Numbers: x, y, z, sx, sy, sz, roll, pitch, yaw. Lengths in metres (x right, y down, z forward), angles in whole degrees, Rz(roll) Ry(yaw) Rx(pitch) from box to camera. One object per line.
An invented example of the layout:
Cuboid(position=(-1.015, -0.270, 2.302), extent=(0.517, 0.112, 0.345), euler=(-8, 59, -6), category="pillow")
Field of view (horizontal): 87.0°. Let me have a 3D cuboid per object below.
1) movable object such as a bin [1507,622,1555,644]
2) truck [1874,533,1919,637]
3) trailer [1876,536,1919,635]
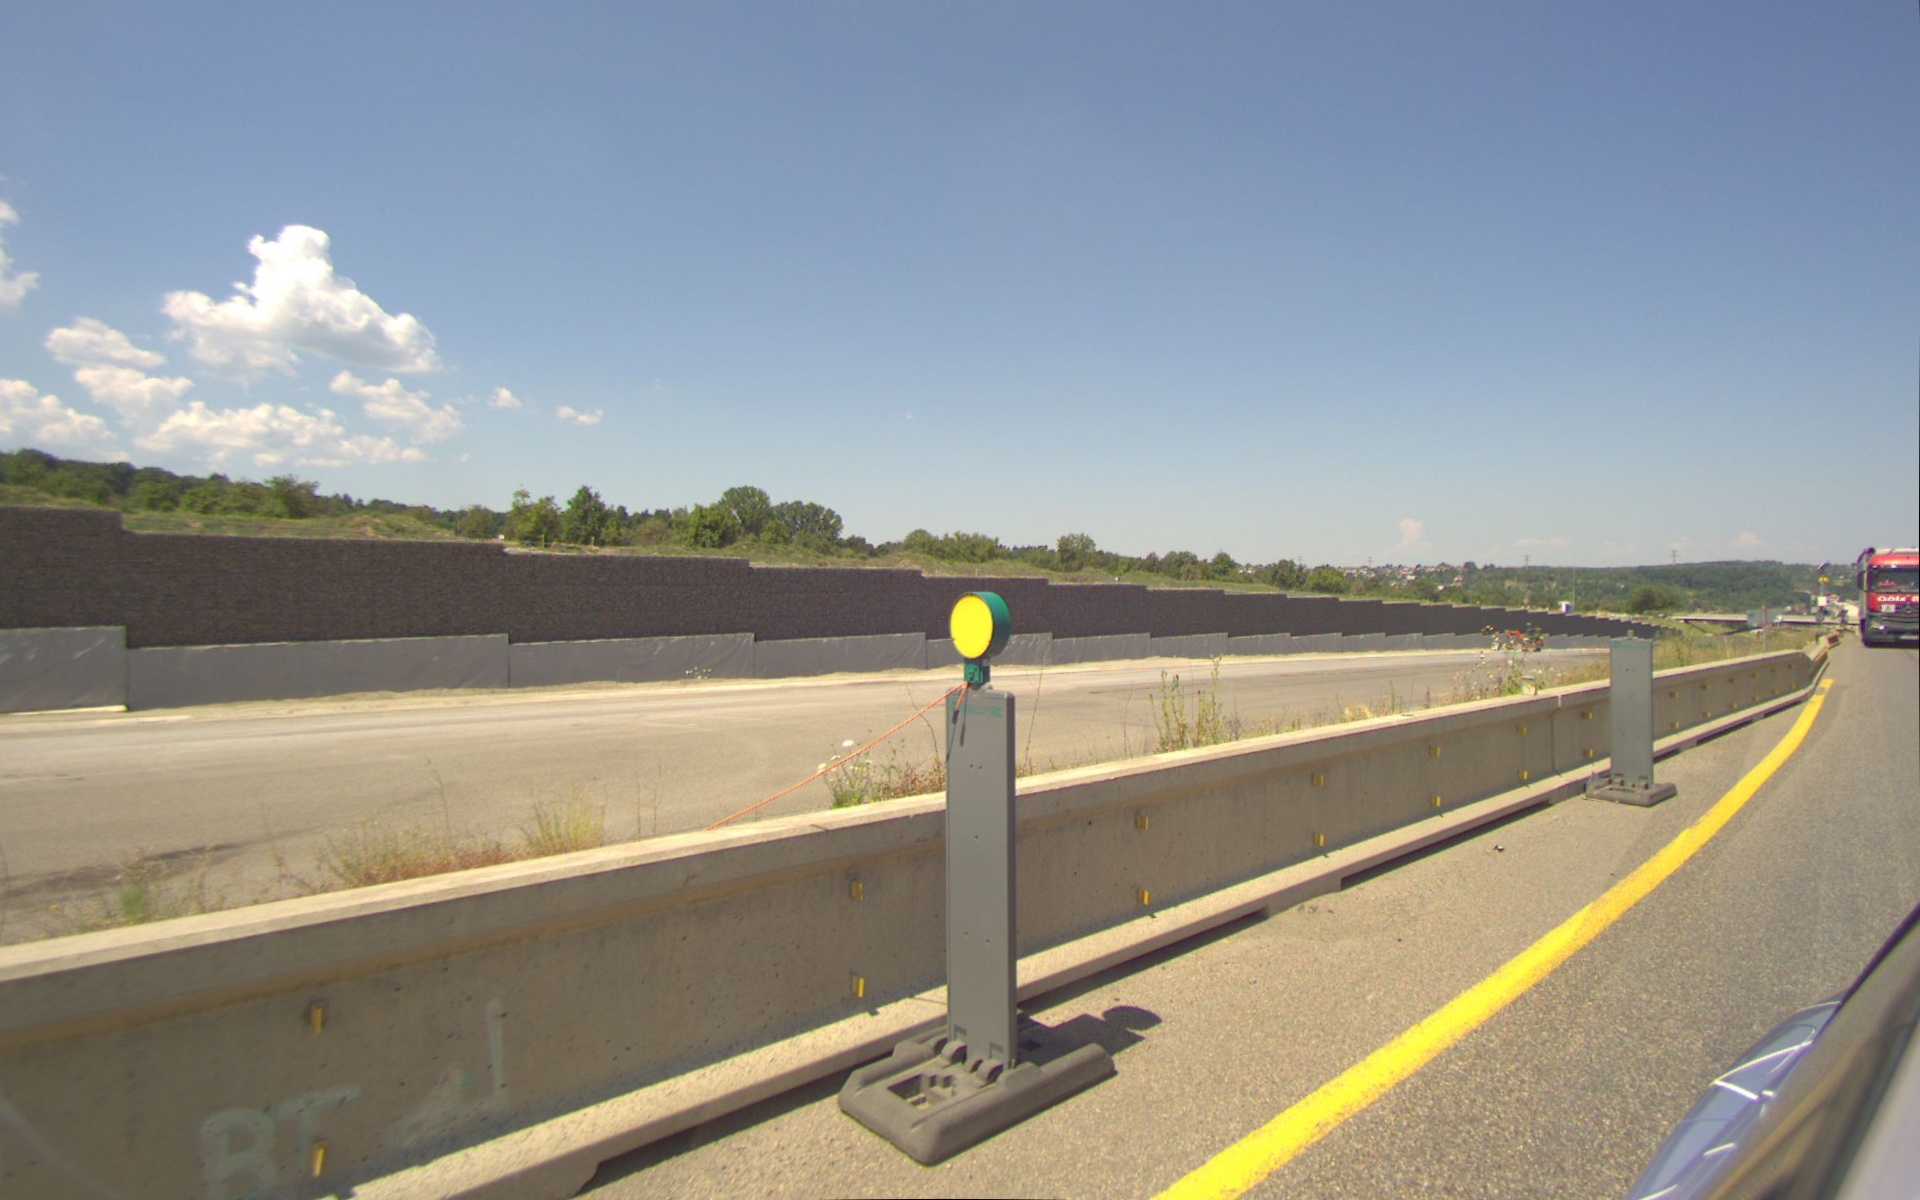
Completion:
Cuboid(position=(60.372, 3.429, 107.125), extent=(4.075, 2.175, 1.754), euler=(1, 0, 16), category="movable object such as a bin")
Cuboid(position=(38.192, -0.590, 40.217), extent=(2.621, 3.952, 4.855), euler=(1, 1, 44), category="truck")
Cuboid(position=(42.529, -0.593, 44.674), extent=(2.695, 3.923, 12.225), euler=(1, 1, 44), category="trailer")
